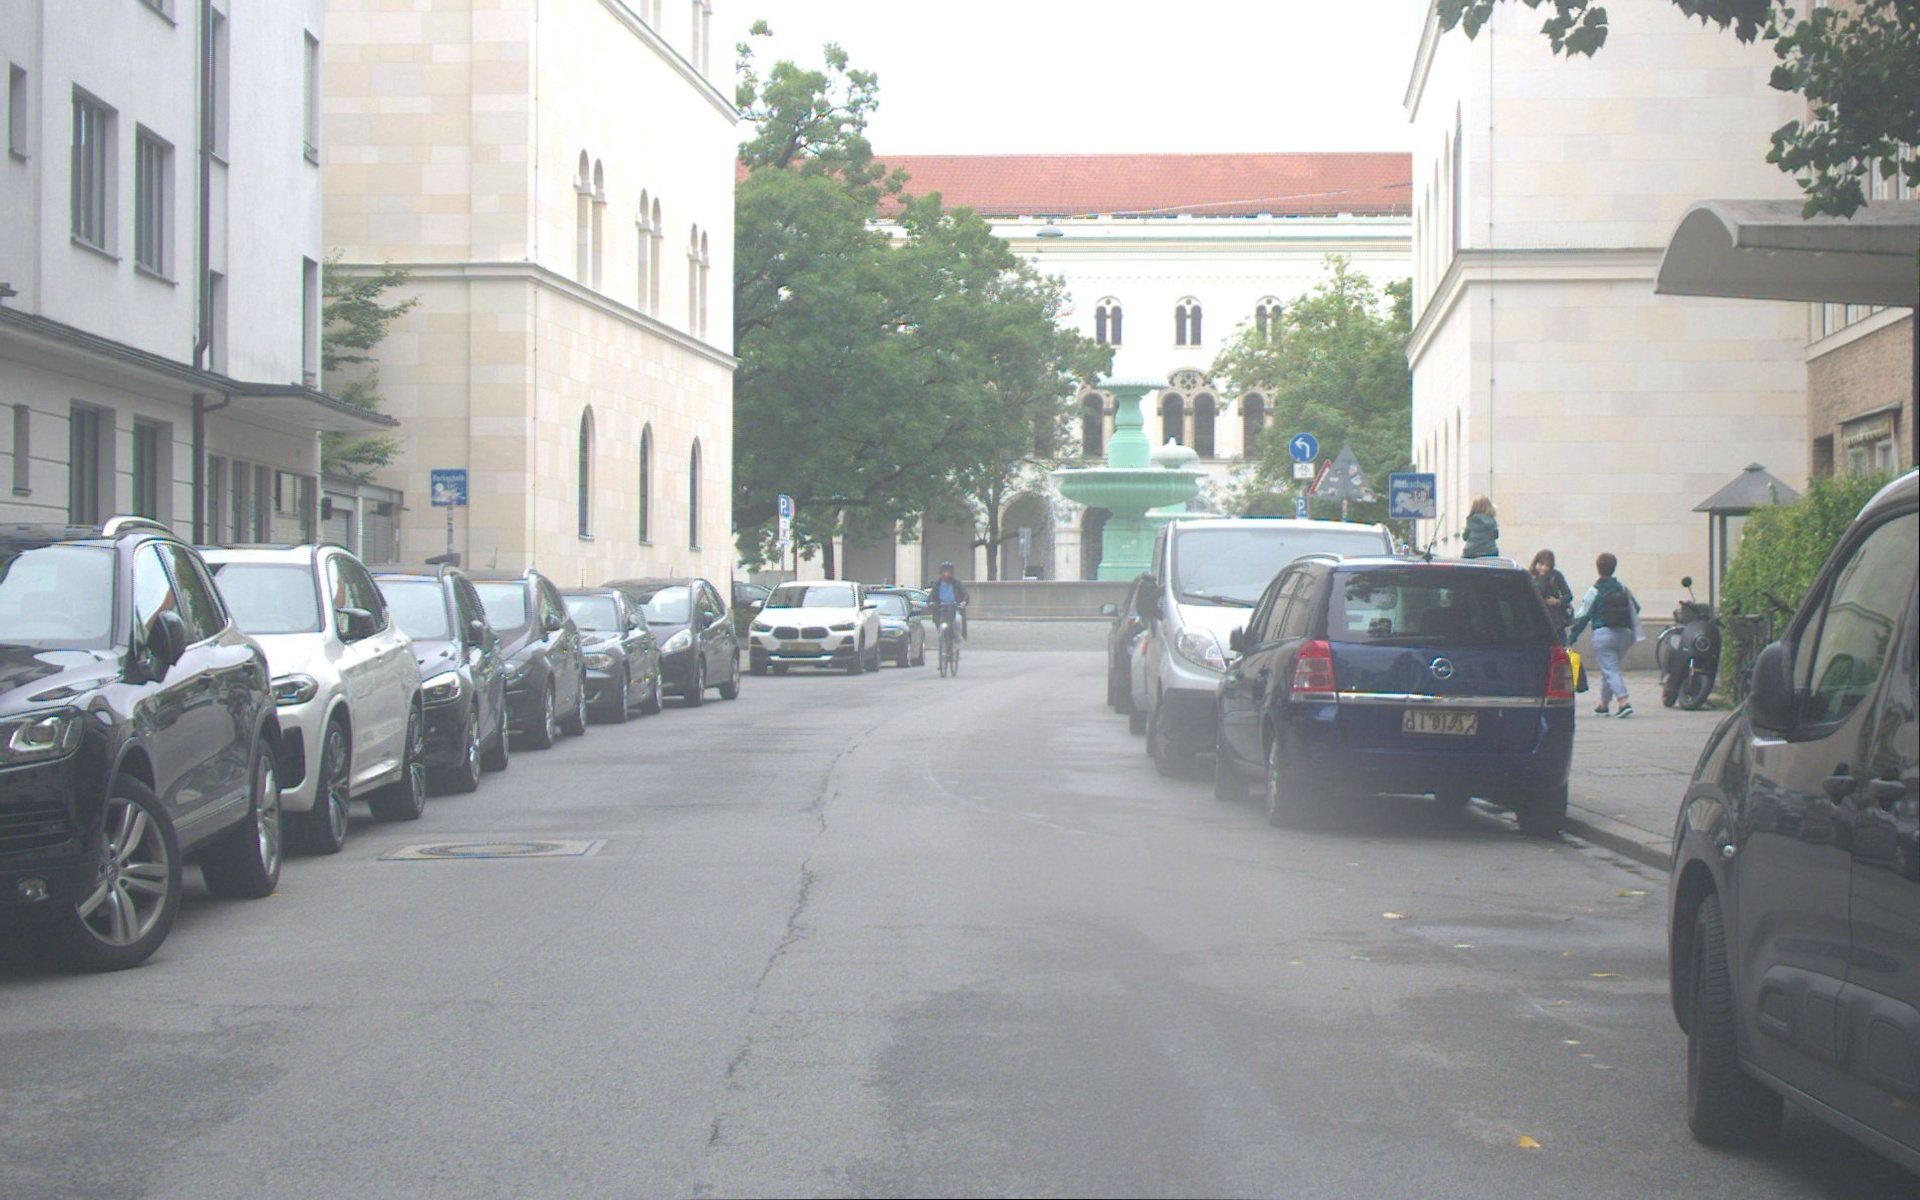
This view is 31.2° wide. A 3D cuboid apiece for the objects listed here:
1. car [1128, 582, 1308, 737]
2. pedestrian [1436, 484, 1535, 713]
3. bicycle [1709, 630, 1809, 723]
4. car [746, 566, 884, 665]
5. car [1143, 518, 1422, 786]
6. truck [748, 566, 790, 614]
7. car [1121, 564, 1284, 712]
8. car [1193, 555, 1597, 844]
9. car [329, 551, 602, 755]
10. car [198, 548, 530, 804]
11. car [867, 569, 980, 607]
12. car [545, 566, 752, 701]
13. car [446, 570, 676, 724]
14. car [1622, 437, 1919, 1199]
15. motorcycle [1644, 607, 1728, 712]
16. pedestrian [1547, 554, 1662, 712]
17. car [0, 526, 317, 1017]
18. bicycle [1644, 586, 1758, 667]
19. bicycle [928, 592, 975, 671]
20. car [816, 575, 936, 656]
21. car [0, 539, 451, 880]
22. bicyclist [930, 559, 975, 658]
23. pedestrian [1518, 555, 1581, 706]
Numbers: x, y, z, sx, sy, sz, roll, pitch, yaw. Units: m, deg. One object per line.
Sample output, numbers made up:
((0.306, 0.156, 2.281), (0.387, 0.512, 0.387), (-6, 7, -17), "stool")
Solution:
((2.554, 0.546, 34.523), (1.673, 1.412, 4.201), (1, 1, 3), "car")
((5.090, -0.019, 33.331), (0.793, 2.190, 0.814), (1, 1, -1), "pedestrian")
((7.472, 0.709, 32.178), (0.516, 0.815, 1.434), (-1, 1, -3), "bicycle")
((-2.346, 0.246, 56.575), (1.778, 1.529, 4.211), (-1, 0, 4), "car")
((2.436, 0.339, 27.038), (1.882, 1.918, 4.874), (0, 1, 2), "car")
((-10.088, -0.537, 181.092), (1.993, 2.480, 4.001), (1, 1, -6), "truck")
((2.724, 0.398, 39.264), (1.747, 1.588, 3.955), (1, 0, 3), "car")
((2.579, 0.531, 21.353), (1.807, 1.595, 4.215), (1, 1, -2), "car")
((-4.398, 0.419, 31.143), (1.872, 1.652, 4.080), (-1, 1, 0), "car")
((-4.311, 0.475, 25.517), (1.872, 1.652, 4.591), (-2, 1, -3), "car")
((-1.327, -0.449, 125.478), (3.987, 1.371, 2.000), (0, 1, 4), "car")
((-3.686, 0.368, 41.324), (1.751, 1.448, 4.015), (-1, 1, 5), "car")
((-4.181, 0.456, 36.574), (1.751, 1.448, 4.015), (-1, 1, 3), "car")
((2.776, 0.596, 7.401), (1.846, 1.770, 4.201), (2, 0, 0), "car")
((7.700, 0.617, 36.515), (0.488, 1.050, 1.924), (1, 1, 1), "motorcycle")
((6.379, 0.318, 34.044), (0.949, 1.542, 0.674), (0, 1, -8), "pedestrian")
((-3.985, 0.565, 14.117), (1.872, 1.682, 4.521), (-1, 1, -1), "car")
((9.837, 0.351, 45.649), (1.429, 1.038, 0.348), (-1, 0, 4), "bicycle")
((-0.126, 0.481, 53.955), (0.648, 1.193, 1.950), (-1, 0, 2), "bicycle")
((-1.497, 0.283, 62.748), (1.699, 1.388, 4.211), (-1, 0, 5), "car")
((-4.164, 0.513, 19.613), (1.872, 1.652, 4.591), (-1, 1, -1), "car")
((-0.114, 0.130, 54.036), (0.657, 1.545, 0.887), (0, 0, 2), "bicyclist")
((6.481, 0.325, 37.796), (0.588, 1.627, 0.877), (1, 1, 5), "pedestrian")
